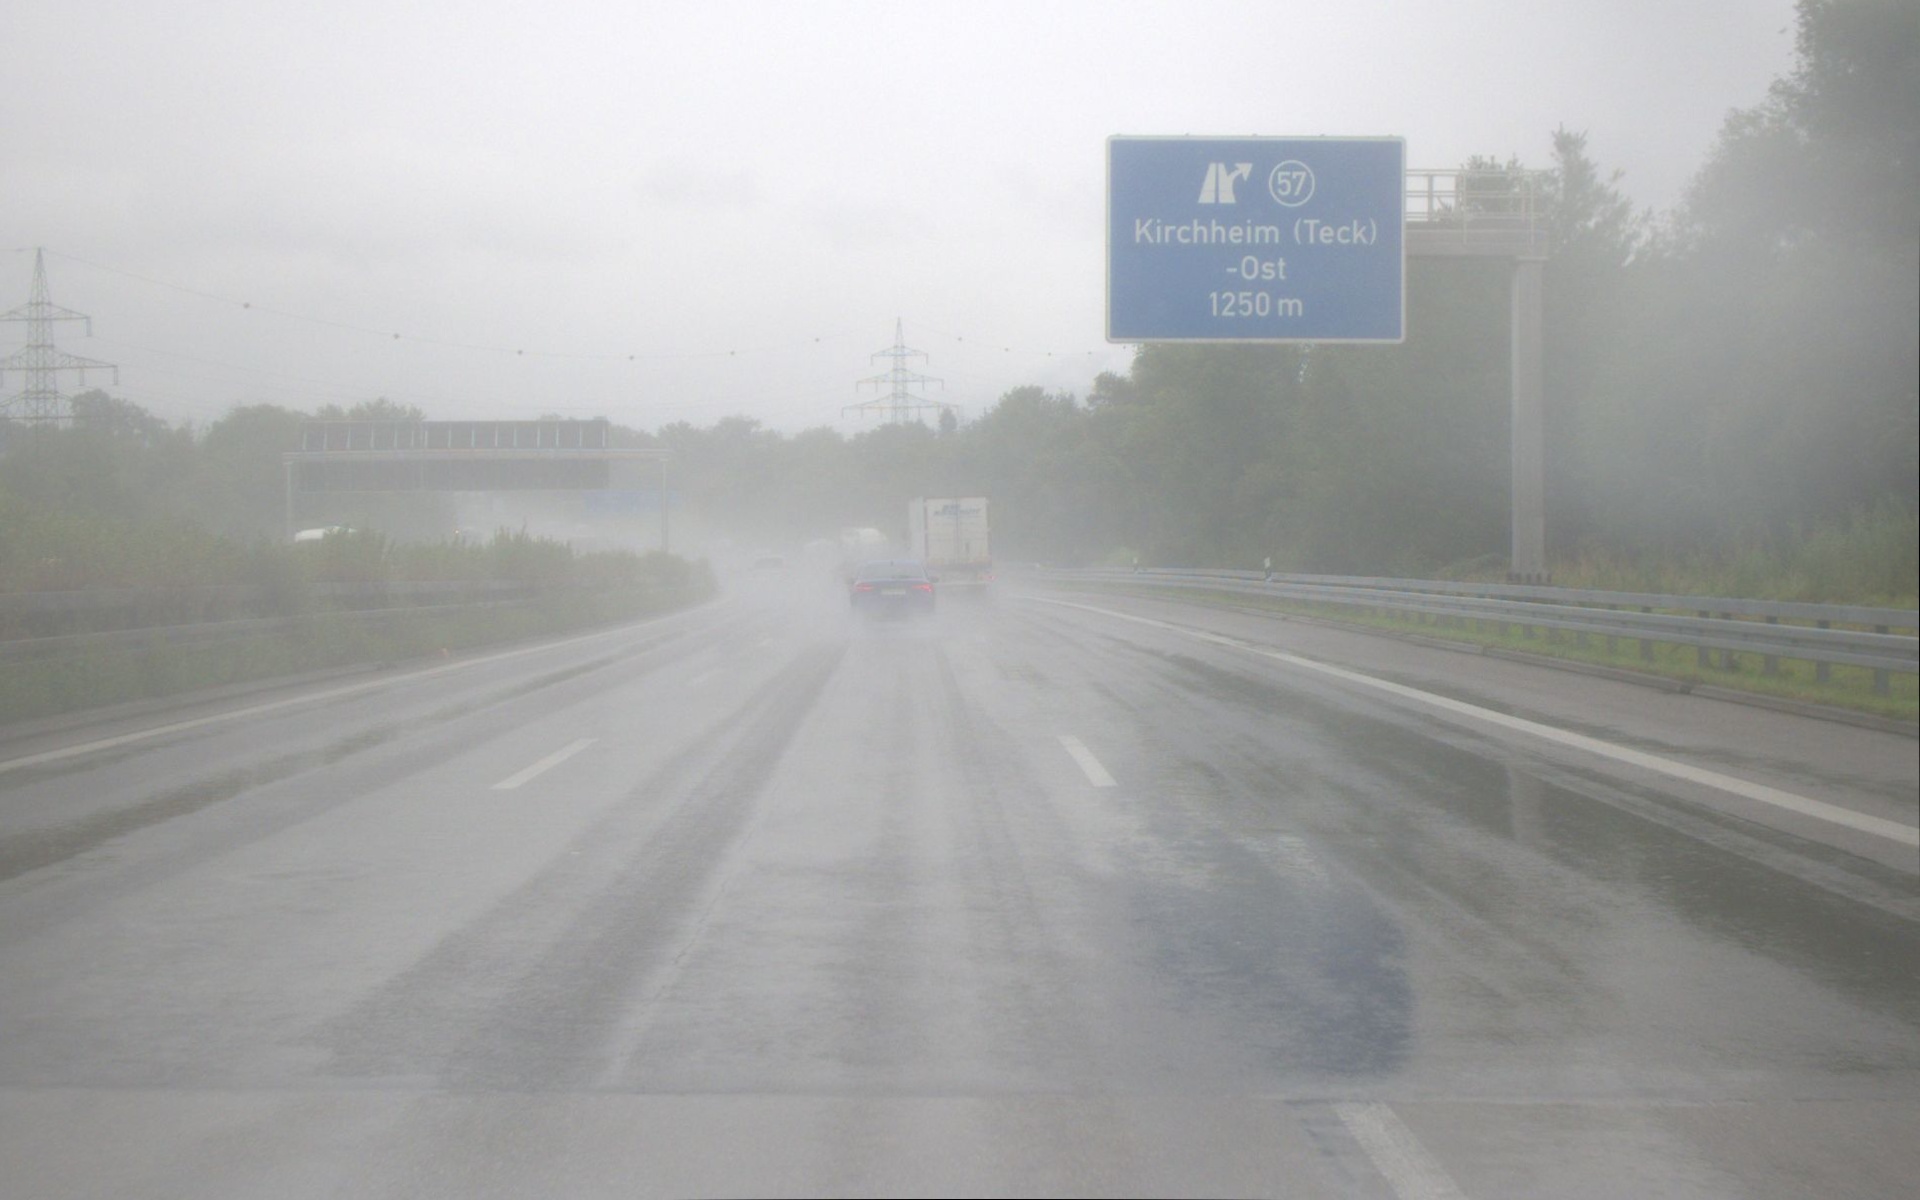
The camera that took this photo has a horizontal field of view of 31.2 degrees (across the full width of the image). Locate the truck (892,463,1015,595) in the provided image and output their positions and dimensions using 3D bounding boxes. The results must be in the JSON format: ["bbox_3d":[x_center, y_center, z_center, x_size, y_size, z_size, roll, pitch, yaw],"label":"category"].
[{"bbox_3d":[-0.423,-2.997,143.419,4.256,4.955,17.343,-3,1,-2],"label":"truck"}]

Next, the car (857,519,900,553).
[{"bbox_3d":[-5.543,-4.321,233.149,2.392,2.264,5.004,0,1,-8],"label":"car"}]

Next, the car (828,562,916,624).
[{"bbox_3d":[-1.827,-0.171,71.586,1.748,1.208,4.000,1,1,-1],"label":"car"}]
